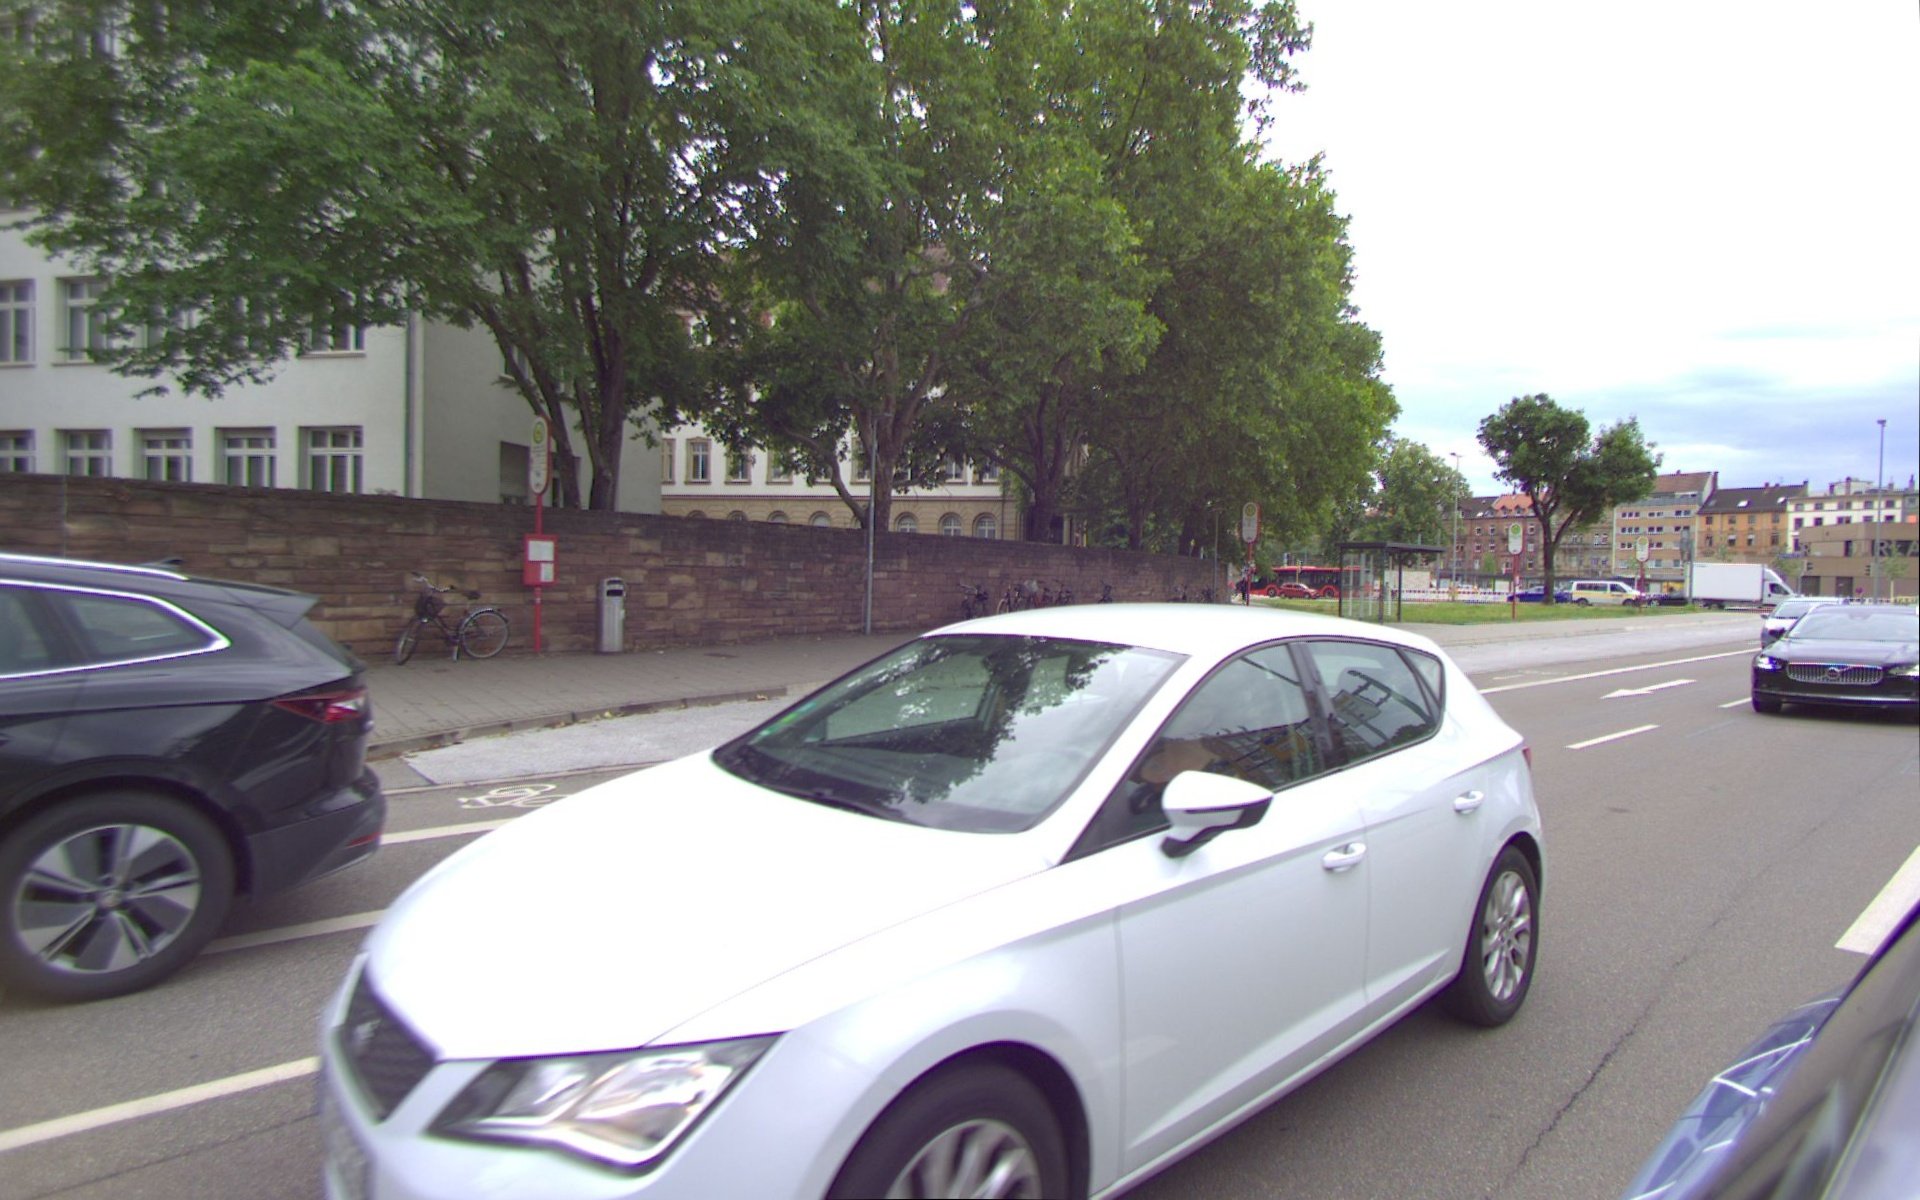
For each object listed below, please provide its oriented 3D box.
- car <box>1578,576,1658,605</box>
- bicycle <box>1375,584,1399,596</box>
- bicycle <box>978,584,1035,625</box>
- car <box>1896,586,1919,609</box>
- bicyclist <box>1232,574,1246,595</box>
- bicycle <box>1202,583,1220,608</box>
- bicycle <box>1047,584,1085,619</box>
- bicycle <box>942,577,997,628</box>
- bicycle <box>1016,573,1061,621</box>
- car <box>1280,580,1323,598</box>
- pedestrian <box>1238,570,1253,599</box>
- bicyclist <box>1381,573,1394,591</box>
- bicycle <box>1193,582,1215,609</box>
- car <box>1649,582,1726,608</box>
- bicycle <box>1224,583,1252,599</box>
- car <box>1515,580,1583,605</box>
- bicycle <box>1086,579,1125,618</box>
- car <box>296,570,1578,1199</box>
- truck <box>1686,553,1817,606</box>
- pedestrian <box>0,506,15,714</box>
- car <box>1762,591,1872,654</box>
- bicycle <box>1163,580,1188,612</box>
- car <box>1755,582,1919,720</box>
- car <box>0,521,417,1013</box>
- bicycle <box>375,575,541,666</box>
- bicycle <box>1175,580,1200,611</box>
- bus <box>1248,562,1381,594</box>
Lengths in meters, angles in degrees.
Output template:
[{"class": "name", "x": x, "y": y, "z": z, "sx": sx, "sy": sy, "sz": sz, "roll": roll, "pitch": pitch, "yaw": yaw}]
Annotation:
[{"class": "car", "x": 48.496, "y": -0.710, "z": 74.644, "sx": 1.889, "sy": 1.942, "sz": 4.704, "roll": -4, "pitch": 4, "yaw": -44}, {"class": "bicycle", "x": 35.711, "y": -0.870, "z": 84.723, "sx": 1.687, "sy": 0.926, "sz": 0.757, "roll": 4, "pitch": 3, "yaw": 39}, {"class": "bicycle", "x": 1.206, "y": 0.100, "z": 25.750, "sx": 0.650, "sy": 0.963, "sz": 1.750, "roll": 3, "pitch": 3, "yaw": 31}, {"class": "car", "x": 66.557, "y": -0.112, "z": 68.820, "sx": 3.959, "sy": 1.493, "sz": 1.820, "roll": 3, "pitch": 2, "yaw": 3}, {"class": "bicyclist", "x": 26.034, "y": -1.419, "z": 94.364, "sx": 0.893, "sy": 1.883, "sz": 0.753, "roll": 4, "pitch": 3, "yaw": 43}, {"class": "bicycle", "x": 11.015, "y": -0.204, "z": 44.346, "sx": 0.544, "sy": 1.004, "sz": 1.626, "roll": 3, "pitch": 2, "yaw": 20}, {"class": "bicycle", "x": 3.026, "y": 0.039, "z": 28.796, "sx": 0.414, "sy": 0.954, "sz": 1.508, "roll": 3, "pitch": 2, "yaw": 31}, {"class": "bicycle", "x": 0.241, "y": 0.036, "z": 24.093, "sx": 0.712, "sy": 1.113, "sz": 1.781, "roll": 3, "pitch": 2, "yaw": 20}, {"class": "bicycle", "x": 2.128, "y": -0.081, "z": 27.303, "sx": 0.497, "sy": 1.236, "sz": 1.609, "roll": 3, "pitch": 2, "yaw": 31}, {"class": "car", "x": 31.359, "y": -1.036, "z": 92.969, "sx": 3.422, "sy": 1.399, "sz": 1.266, "roll": 2, "pitch": -6, "yaw": 44}, {"class": "pedestrian", "x": 18.040, "y": -0.969, "z": 63.983, "sx": 0.745, "sy": 1.756, "sz": 0.821, "roll": 3, "pitch": 2, "yaw": 10}, {"class": "bicyclist", "x": 35.773, "y": -1.506, "z": 84.684, "sx": 0.737, "sy": 1.526, "sz": 0.757, "roll": 4, "pitch": 2, "yaw": 39}, {"class": "bicycle", "x": 10.328, "y": -0.214, "z": 42.776, "sx": 0.589, "sy": 1.072, "sz": 1.700, "roll": 3, "pitch": 2, "yaw": 23}, {"class": "car", "x": 53.844, "y": -0.399, "z": 75.000, "sx": 1.659, "sy": 1.657, "sz": 4.284, "roll": 1, "pitch": 3, "yaw": -39}, {"class": "bicycle", "x": 25.960, "y": -0.878, "z": 94.425, "sx": 2.384, "sy": 1.340, "sz": 0.753, "roll": 5, "pitch": 3, "yaw": 44}, {"class": "car", "x": 47.963, "y": -0.635, "z": 82.506, "sx": 1.736, "sy": 1.767, "sz": 4.422, "roll": 0, "pitch": 3, "yaw": -44}, {"class": "bicycle", "x": 4.413, "y": -0.049, "z": 30.628, "sx": 0.593, "sy": 1.118, "sz": 1.638, "roll": 3, "pitch": 2, "yaw": 29}, {"class": "car", "x": 0.310, "y": 0.680, "z": 3.181, "sx": 3.804, "sy": 1.481, "sz": 1.784, "roll": 0, "pitch": 1, "yaw": -42}, {"class": "truck", "x": 53.954, "y": -1.434, "z": 69.120, "sx": 6.835, "sy": 3.453, "sz": 2.520, "roll": 1, "pitch": 3, "yaw": 45}, {"class": "pedestrian", "x": -9.068, "y": 0.071, "z": 8.932, "sx": 1.014, "sy": 1.844, "sz": 0.632, "roll": 1, "pitch": 2, "yaw": -41}, {"class": "car", "x": 22.242, "y": 0.526, "z": 26.234, "sx": 3.596, "sy": 1.484, "sz": 1.669, "roll": 0, "pitch": 1, "yaw": -41}, {"class": "bicycle", "x": 8.132, "y": -0.151, "z": 38.151, "sx": 0.589, "sy": 1.150, "sz": 1.700, "roll": 3, "pitch": 2, "yaw": 23}, {"class": "car", "x": 12.532, "y": 0.585, "z": 13.864, "sx": 4.371, "sy": 1.620, "sz": 1.886, "roll": 0, "pitch": 0, "yaw": -42}, {"class": "car", "x": -4.536, "y": 0.558, "z": 3.469, "sx": 4.414, "sy": 1.645, "sz": 1.910, "roll": 0, "pitch": 0, "yaw": -42}, {"class": "bicycle", "x": -6.974, "y": 0.250, "z": 14.142, "sx": 0.845, "sy": 1.141, "sz": 1.900, "roll": 4, "pitch": 3, "yaw": 34}, {"class": "bicycle", "x": 8.926, "y": -0.190, "z": 39.680, "sx": 0.589, "sy": 1.143, "sz": 1.700, "roll": 3, "pitch": 2, "yaw": 23}, {"class": "bus", "x": 33.933, "y": -2.142, "z": 97.427, "sx": 2.889, "sy": 2.944, "sz": 12.067, "roll": 0, "pitch": 1, "yaw": -44}]
